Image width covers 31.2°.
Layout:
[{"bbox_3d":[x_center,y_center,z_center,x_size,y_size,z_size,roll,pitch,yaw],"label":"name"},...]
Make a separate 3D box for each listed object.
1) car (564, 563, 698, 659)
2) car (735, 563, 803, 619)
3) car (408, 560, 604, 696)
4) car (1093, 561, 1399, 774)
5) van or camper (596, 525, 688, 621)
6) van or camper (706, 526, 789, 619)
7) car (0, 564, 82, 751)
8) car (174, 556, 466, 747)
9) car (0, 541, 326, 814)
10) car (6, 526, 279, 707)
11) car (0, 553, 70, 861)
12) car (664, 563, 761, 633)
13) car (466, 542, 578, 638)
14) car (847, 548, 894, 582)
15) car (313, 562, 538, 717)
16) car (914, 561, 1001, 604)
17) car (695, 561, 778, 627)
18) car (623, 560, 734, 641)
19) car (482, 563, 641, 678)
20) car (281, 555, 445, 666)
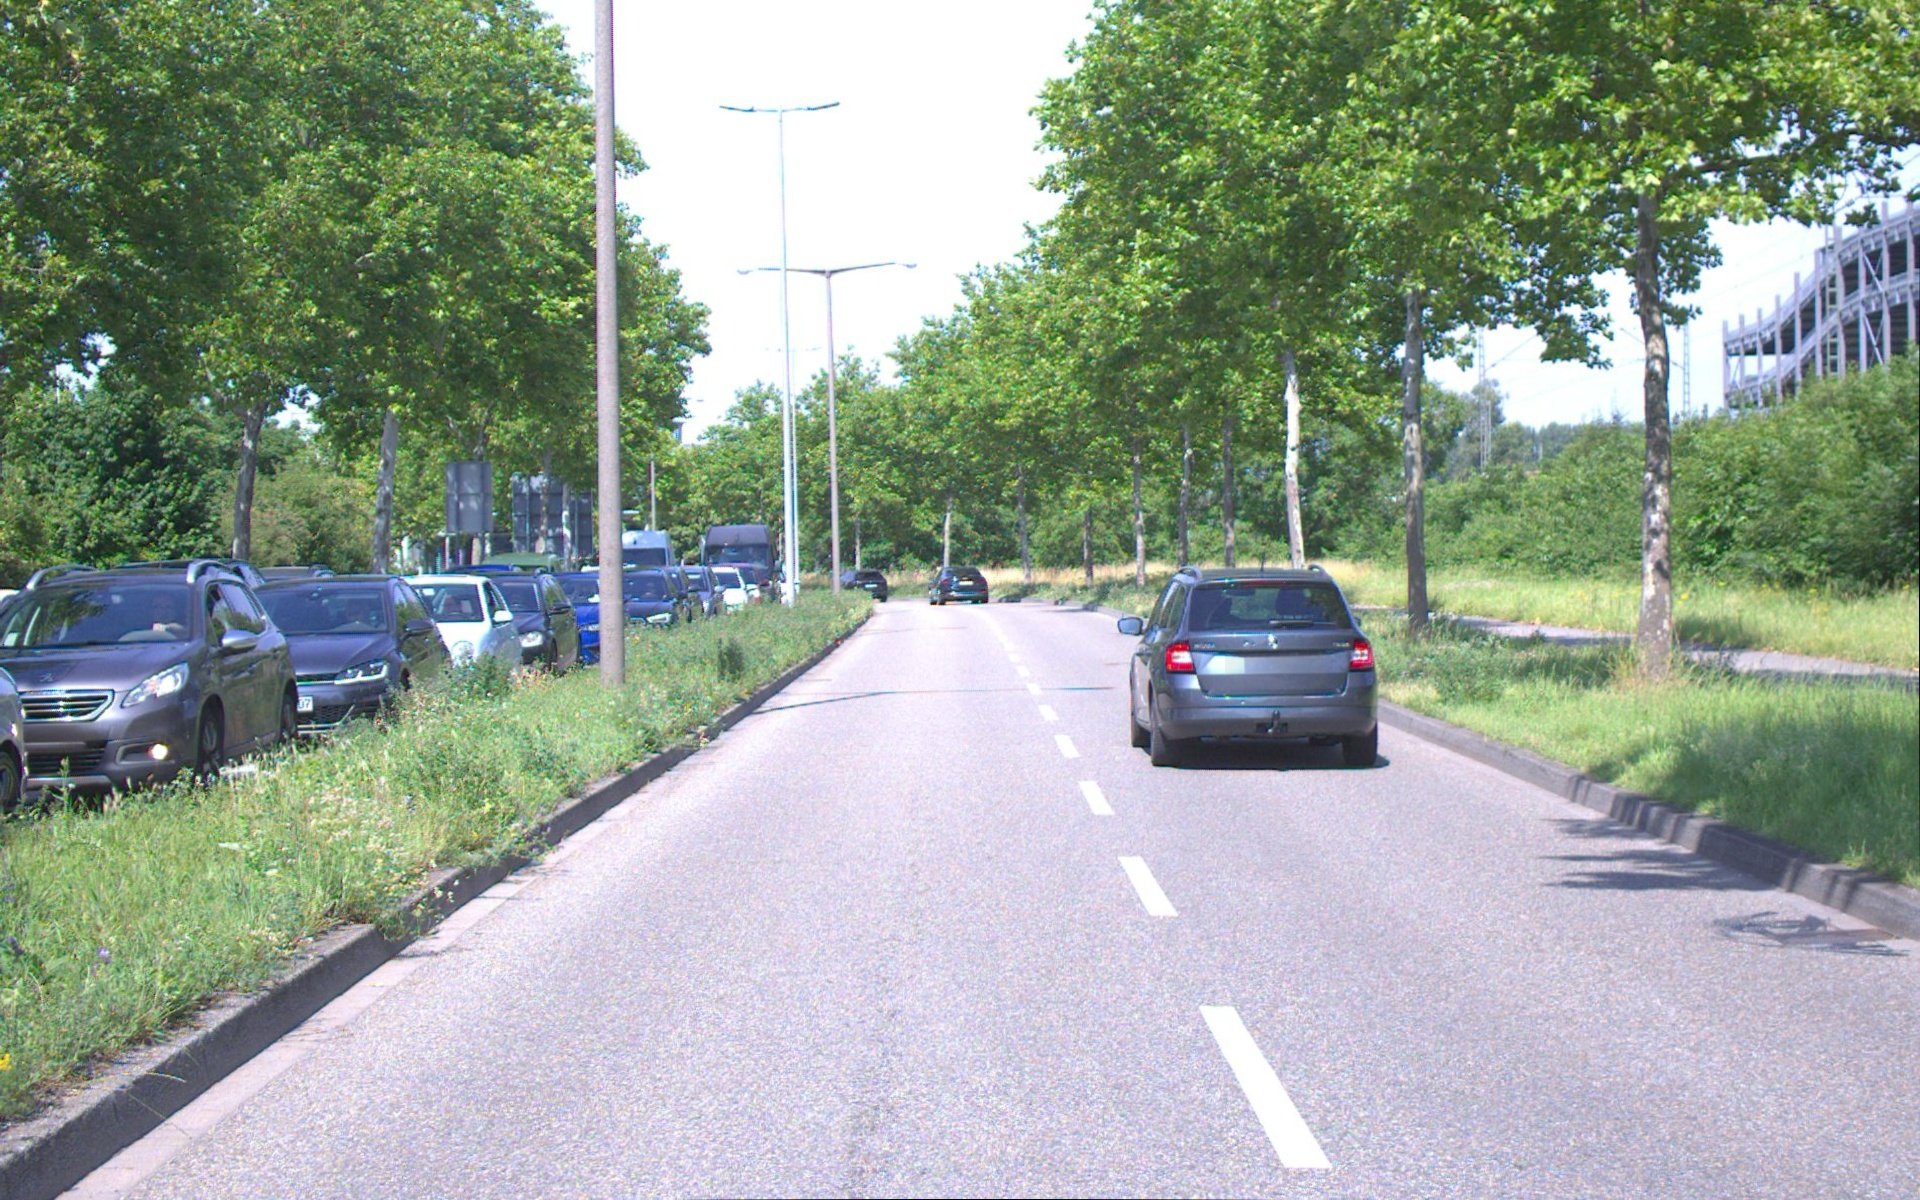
[{"bbox_3d":[-5.349,0.151,56.348,1.823,1.460,4.450,-1,1,-1],"label":"car"},{"bbox_3d":[-5.460,-0.254,98.580,1.689,1.525,3.814,-1,0,0],"label":"car"},{"bbox_3d":[-5.547,0.301,42.511,1.758,1.525,4.828,-2,1,0],"label":"car"},{"bbox_3d":[2.082,0.450,26.065,1.674,1.448,4.036,1,1,-4],"label":"car"},{"bbox_3d":[-8.912,-0.783,96.641,2.015,2.579,5.517,-1,1,0],"label":"van or camper"},{"bbox_3d":[-5.596,-0.700,91.045,1.938,2.360,5.398,-1,0,-2],"label":"van or camper"},{"bbox_3d":[-8.736,0.497,28.895,1.689,1.525,4.084,-2,1,-1],"label":"car"},{"bbox_3d":[-5.434,0.385,29.672,1.689,1.468,4.218,-2,1,0],"label":"car"},{"bbox_3d":[-5.367,0.434,22.333,1.689,1.581,4.240,-1,1,0],"label":"car"},{"bbox_3d":[-8.472,0.165,36.017,1.821,1.731,4.769,-1,0,-2],"label":"car"},{"bbox_3d":[-5.467,0.541,15.281,1.796,1.463,4.523,-1,1,0],"label":"car"},{"bbox_3d":[-5.400,-0.070,75.478,1.783,1.454,4.472,-1,1,0],"label":"car"},{"bbox_3d":[-8.790,-0.202,69.232,1.689,1.852,4.036,-1,0,0],"label":"car"},{"bbox_3d":[-3.992,-1.574,152.344,1.908,1.458,4.583,0,1,-3],"label":"car"},{"bbox_3d":[-5.424,0.362,35.272,1.689,1.467,3.815,-1,1,0],"label":"car"},{"bbox_3d":[-0.118,-0.645,126.376,1.907,1.458,4.623,0,2,-17],"label":"car"},{"bbox_3d":[-5.299,-0.161,81.909,1.689,1.505,3.815,-1,1,0],"label":"car"},{"bbox_3d":[-5.648,-0.017,69.430,1.813,1.525,4.641,-1,1,0],"label":"car"},{"bbox_3d":[-5.528,0.247,48.088,1.784,1.484,4.211,-1,1,-1],"label":"car"},{"bbox_3d":[-8.728,0.123,50.533,1.689,1.525,3.939,-1,1,0],"label":"car"}]
